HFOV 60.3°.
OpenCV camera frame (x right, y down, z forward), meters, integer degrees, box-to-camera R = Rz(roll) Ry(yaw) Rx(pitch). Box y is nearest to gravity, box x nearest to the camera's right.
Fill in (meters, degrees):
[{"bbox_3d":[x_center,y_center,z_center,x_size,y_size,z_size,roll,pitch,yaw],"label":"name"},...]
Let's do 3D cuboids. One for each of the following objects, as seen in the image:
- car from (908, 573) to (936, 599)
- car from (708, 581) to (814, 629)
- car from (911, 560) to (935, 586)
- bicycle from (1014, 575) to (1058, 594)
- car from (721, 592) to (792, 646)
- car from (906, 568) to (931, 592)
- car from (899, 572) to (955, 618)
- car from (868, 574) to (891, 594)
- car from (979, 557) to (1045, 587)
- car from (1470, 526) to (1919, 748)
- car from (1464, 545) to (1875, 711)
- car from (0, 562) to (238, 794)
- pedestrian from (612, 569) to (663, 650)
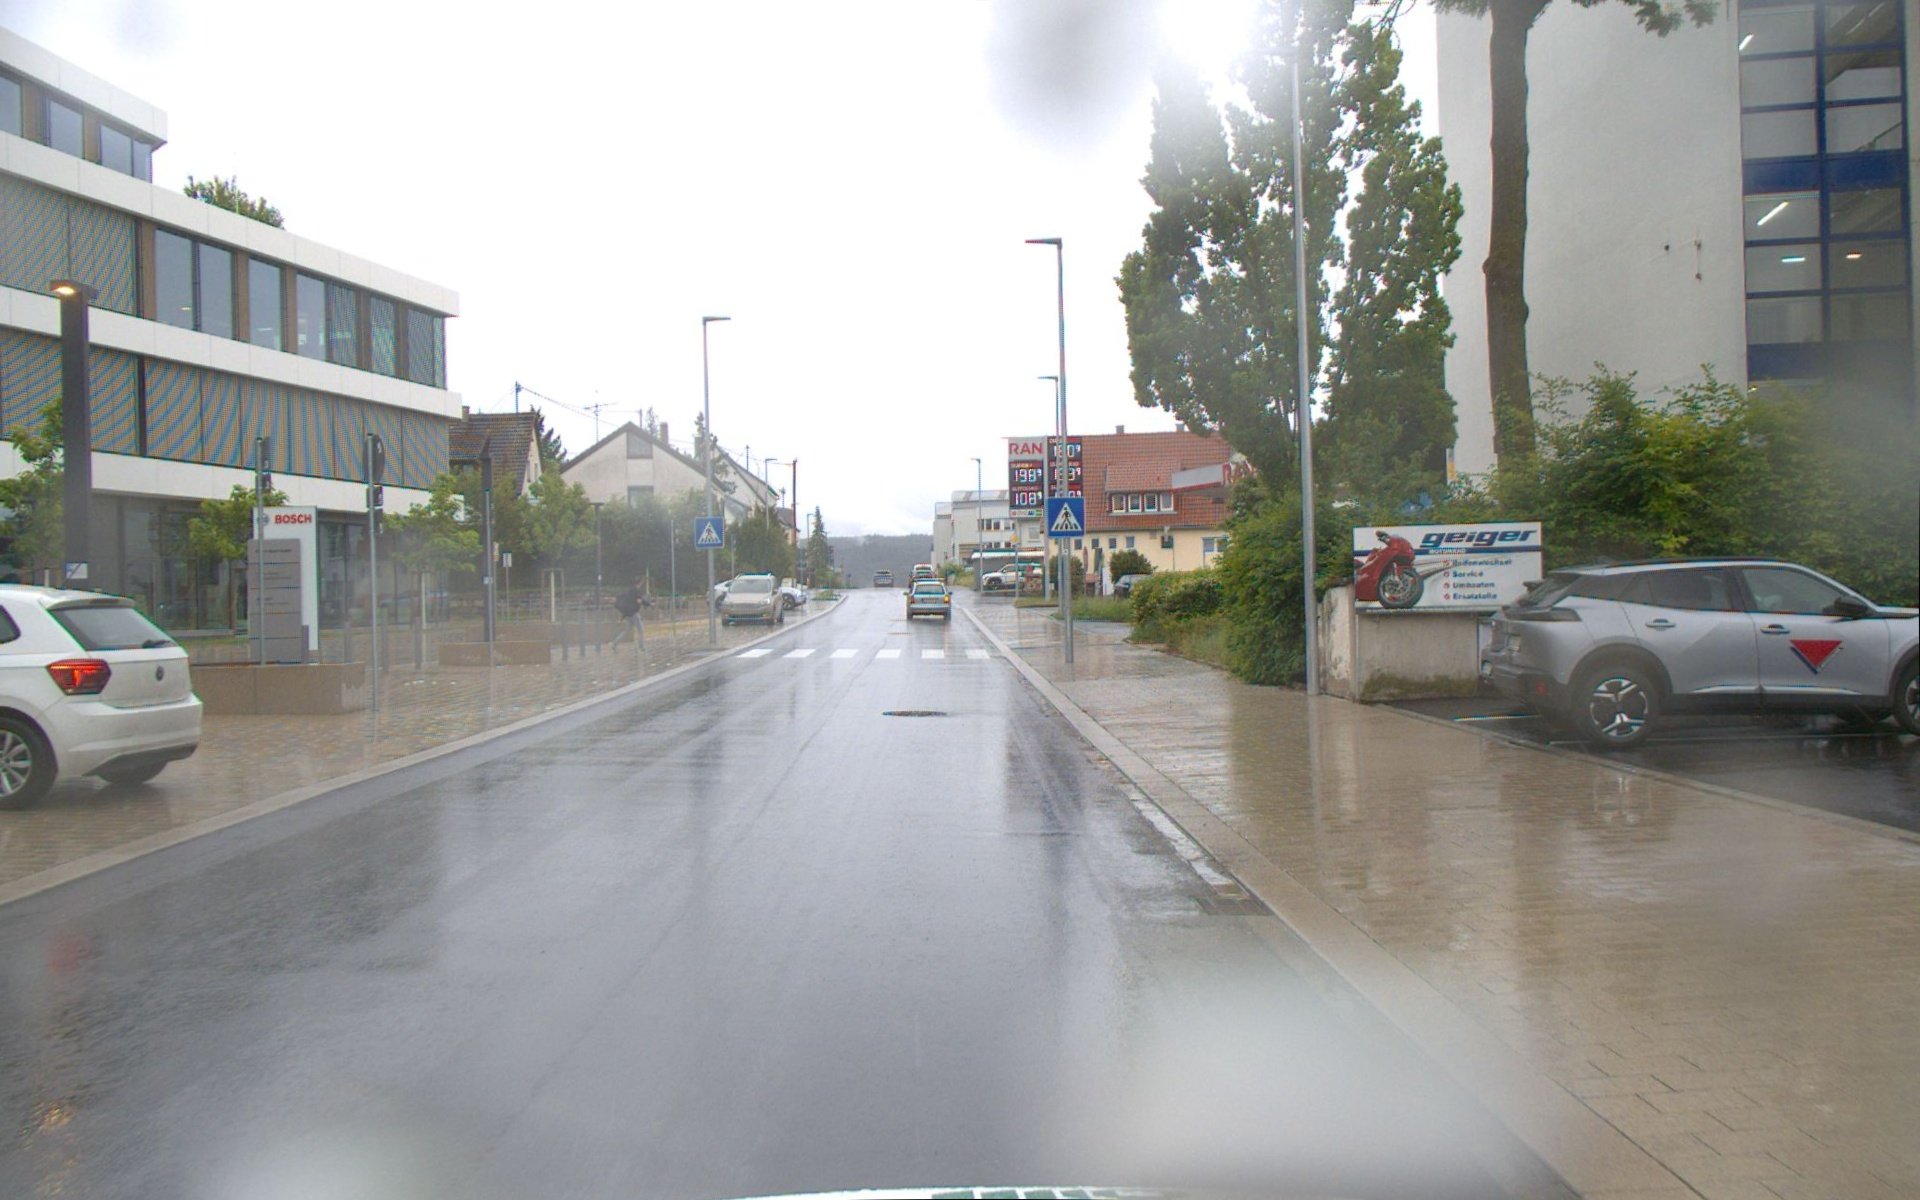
[{"bbox_3d":[-2.786,-1.011,121.908,1.953,1.736,3.998,2,-1,-1],"label":"car"},{"bbox_3d":[-9.465,0.234,78.780,4.655,2.049,2.000,2,-1,2],"label":"car"},{"bbox_3d":[-2.854,-2.086,128.659,1.747,1.736,3.998,2,-1,-1],"label":"car"},{"bbox_3d":[4.561,-0.918,99.679,0.662,1.085,3.589,3,-1,-32],"label":"bicycle"},{"bbox_3d":[-6.877,0.609,56.341,1.953,1.657,4.152,-1,1,-1],"label":"car"},{"bbox_3d":[-3.391,-1.632,135.011,1.953,1.736,3.998,2,-1,-1],"label":"car"},{"bbox_3d":[-1.311,-0.155,63.647,1.910,1.583,3.997,3,-1,-4],"label":"car"},{"bbox_3d":[-7.757,-1.528,159.791,2.110,1.736,3.998,2,-1,-1],"label":"car"},{"bbox_3d":[3.340,-1.792,106.265,4.032,1.736,1.787,3,-1,-4],"label":"car"},{"bbox_3d":[6.835,0.289,14.631,4.118,1.678,2.002,-3,0,9],"label":"car"},{"bbox_3d":[7.263,0.282,17.266,3.544,1.520,1.808,-2,0,8],"label":"car"},{"bbox_3d":[-7.309,0.513,11.345,3.847,1.448,1.898,-1,0,-1],"label":"car"},{"bbox_3d":[-7.133,0.204,36.656,0.993,1.754,0.772,-1,0,-4],"label":"pedestrian"}]
